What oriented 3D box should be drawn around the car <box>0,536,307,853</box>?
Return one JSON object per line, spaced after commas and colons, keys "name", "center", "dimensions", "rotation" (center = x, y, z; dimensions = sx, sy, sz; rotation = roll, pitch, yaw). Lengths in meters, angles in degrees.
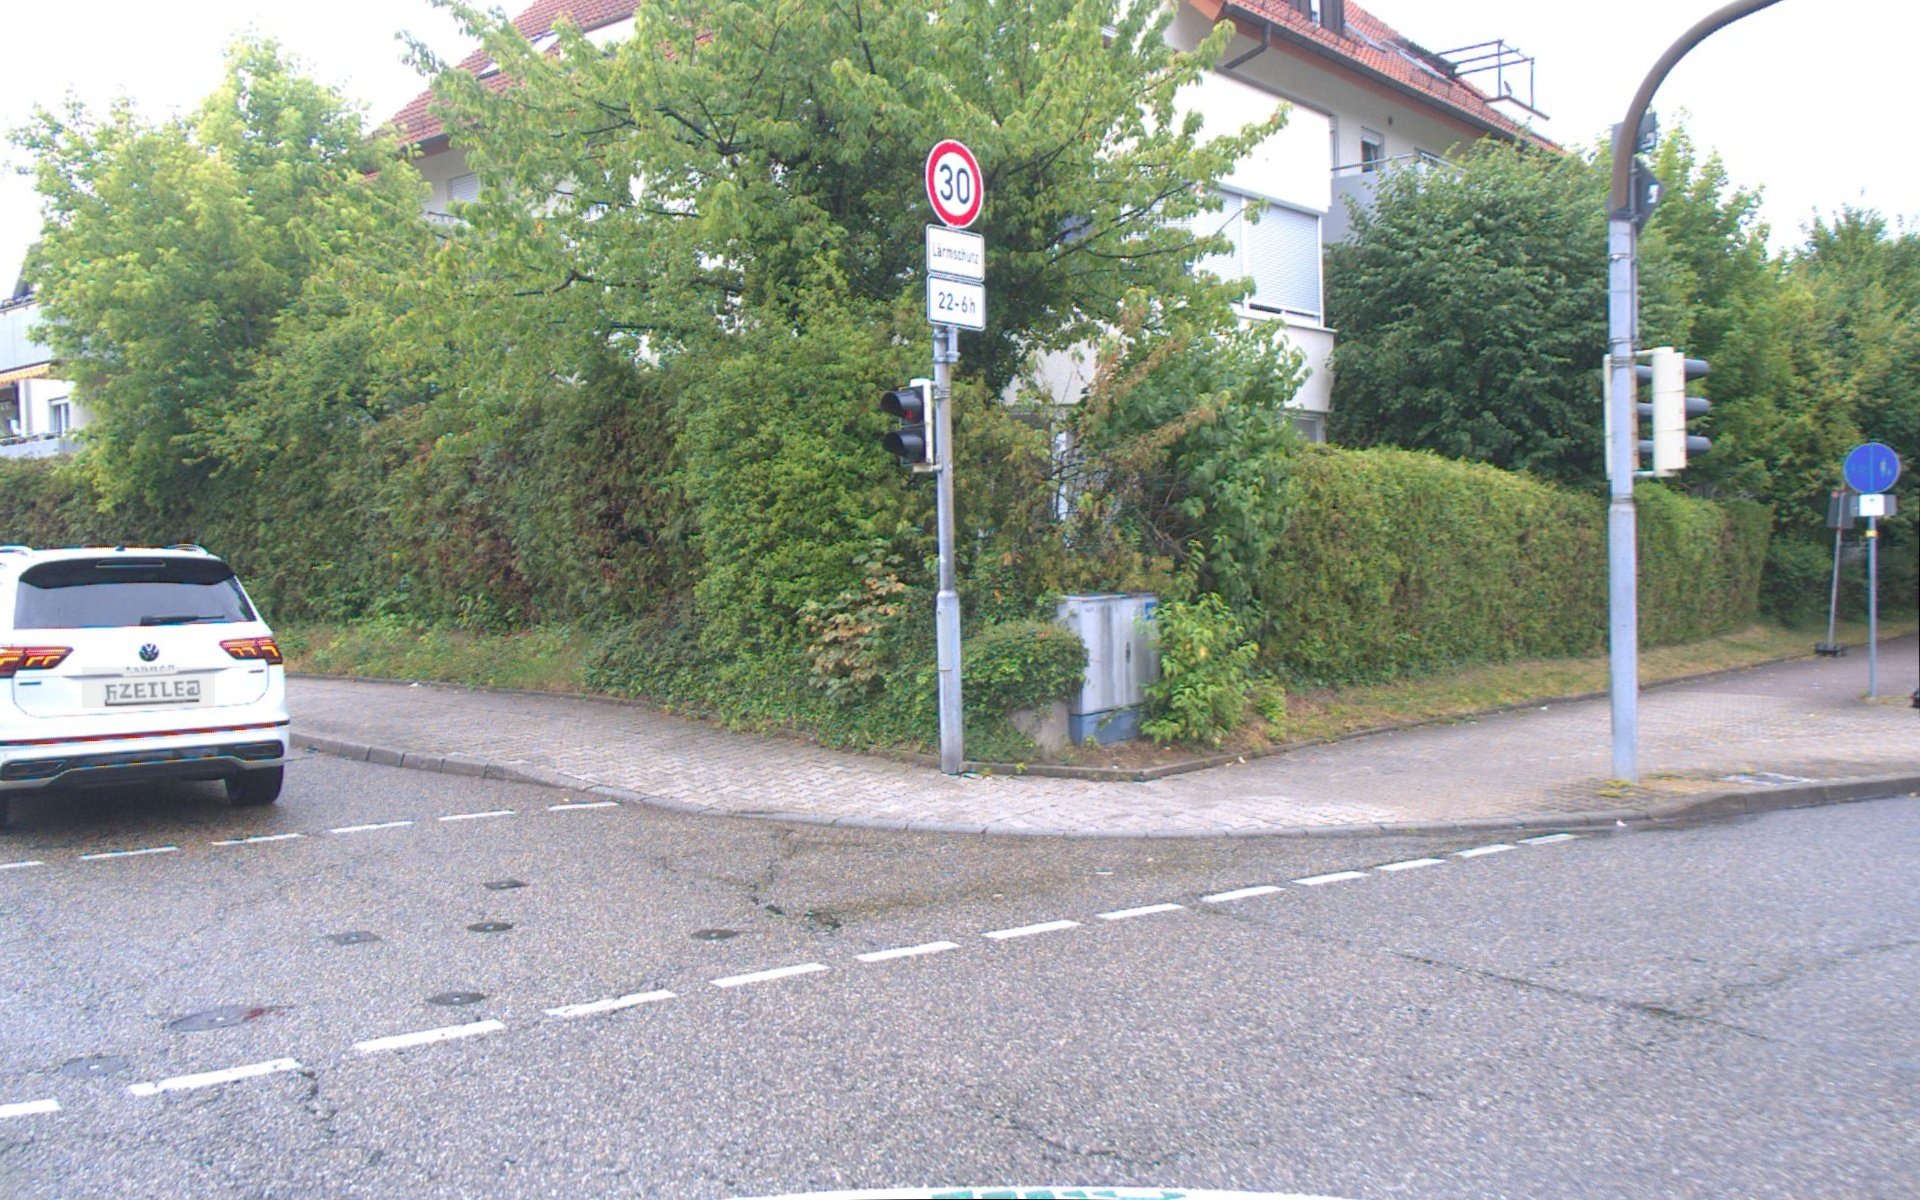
{"name": "car", "center": [-5.919, 0.505, 11.144], "dimensions": [1.750, 1.725, 4.215], "rotation": [0, 0, -38]}
